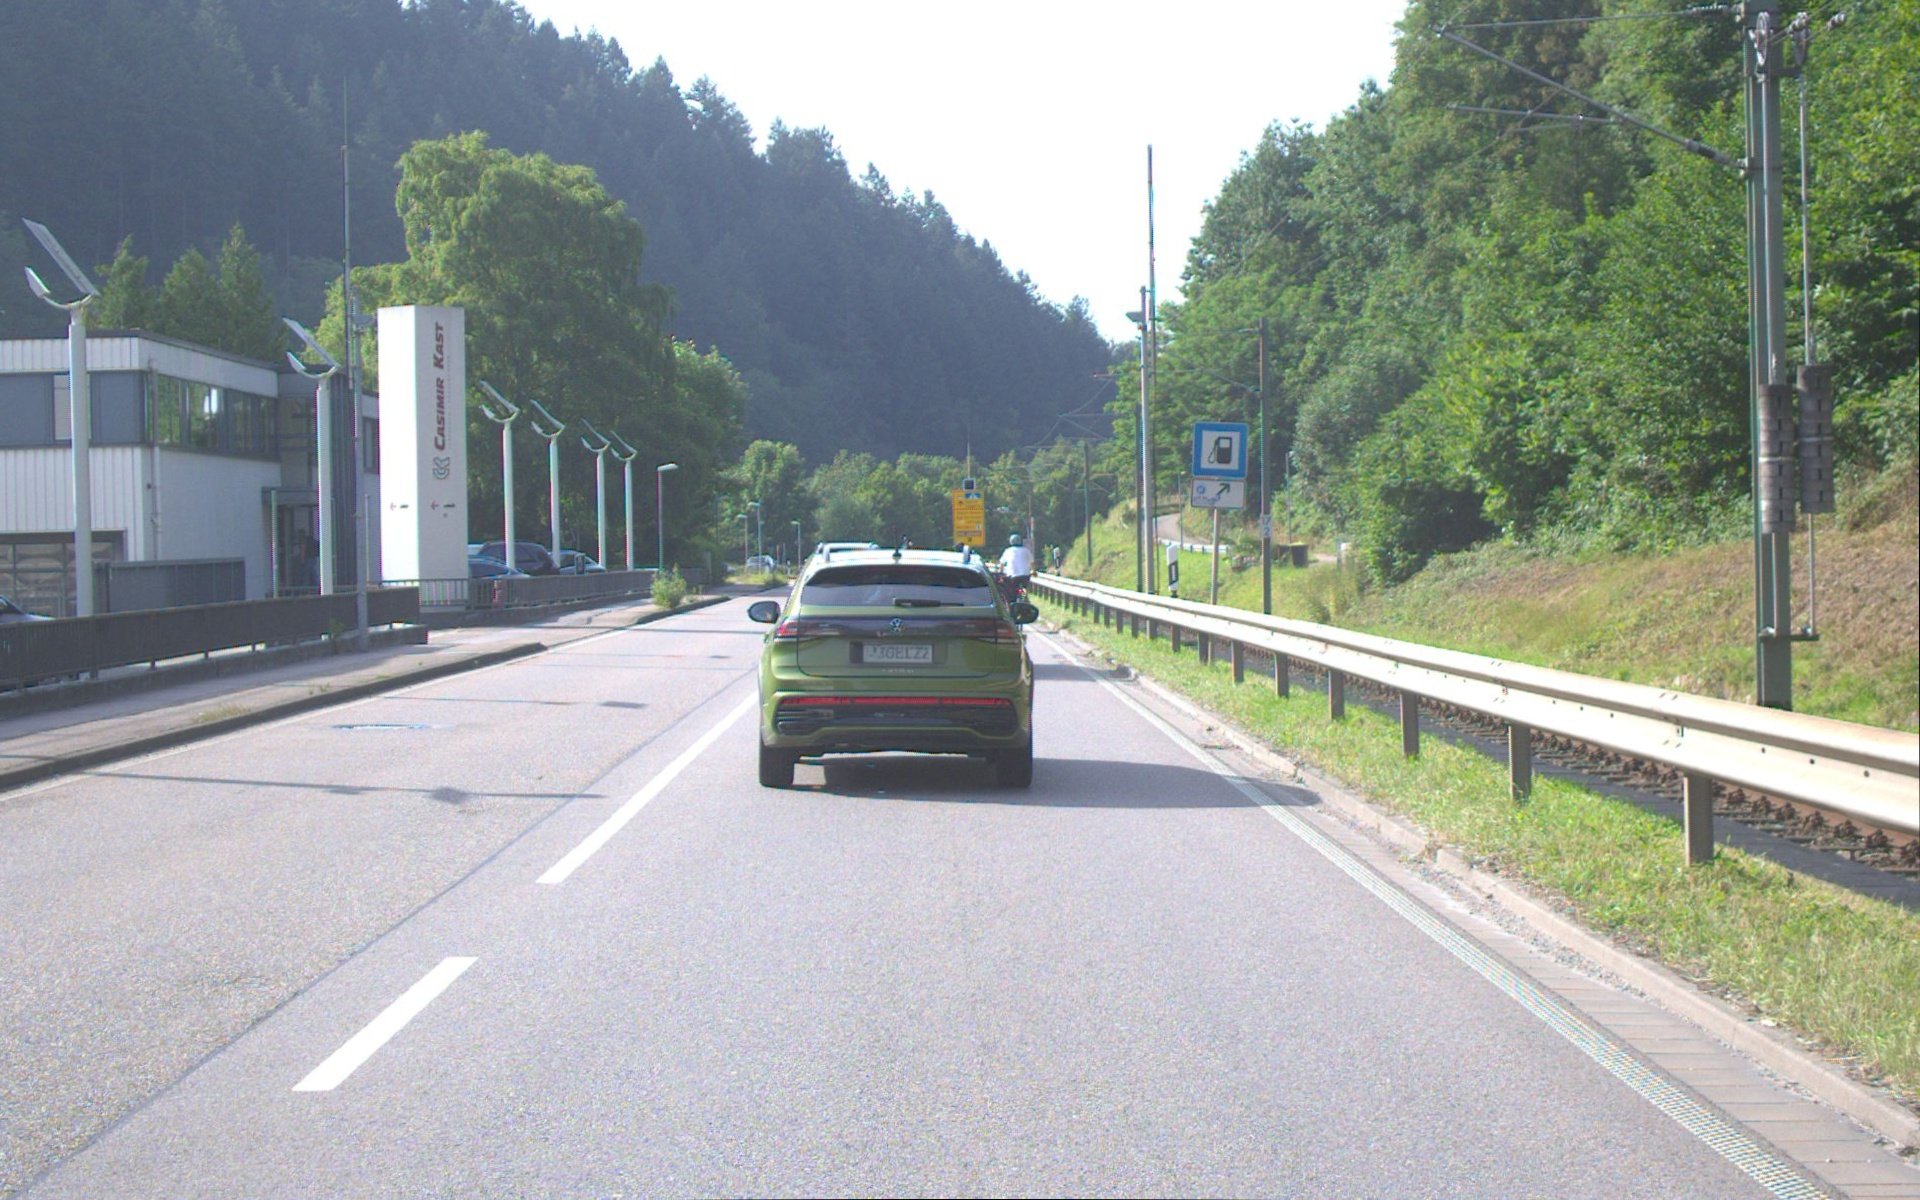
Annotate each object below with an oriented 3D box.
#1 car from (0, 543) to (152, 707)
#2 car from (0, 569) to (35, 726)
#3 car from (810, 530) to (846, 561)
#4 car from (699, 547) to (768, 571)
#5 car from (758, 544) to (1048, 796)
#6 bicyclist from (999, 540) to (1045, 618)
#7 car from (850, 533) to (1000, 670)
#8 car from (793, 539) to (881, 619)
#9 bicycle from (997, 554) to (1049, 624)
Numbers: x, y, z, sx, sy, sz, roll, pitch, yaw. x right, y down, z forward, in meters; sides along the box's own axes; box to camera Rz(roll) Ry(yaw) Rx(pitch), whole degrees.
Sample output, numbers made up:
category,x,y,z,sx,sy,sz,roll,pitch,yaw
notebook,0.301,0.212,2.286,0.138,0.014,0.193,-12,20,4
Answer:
category,x,y,z,sx,sy,sz,roll,pitch,yaw
car,-10.785,0.263,36.305,1.780,1.702,4.101,0,1,41
car,-11.071,0.479,31.959,1.887,1.490,4.478,0,1,41
car,-6.509,-2.700,170.040,1.677,1.480,4.246,1,1,-1
car,-14.420,-2.609,218.797,4.259,1.428,1.557,-1,1,0
car,-0.393,0.385,22.610,1.739,1.503,4.000,0,1,-1
bicyclist,1.135,-0.378,62.668,0.781,1.407,0.675,-1,1,-2
car,-0.460,-0.016,42.055,1.739,1.596,4.000,0,1,-1
car,-2.513,-0.458,70.751,1.739,1.596,4.000,0,1,-1
bicycle,1.134,-0.211,62.449,0.811,1.246,2.123,-1,1,-2
